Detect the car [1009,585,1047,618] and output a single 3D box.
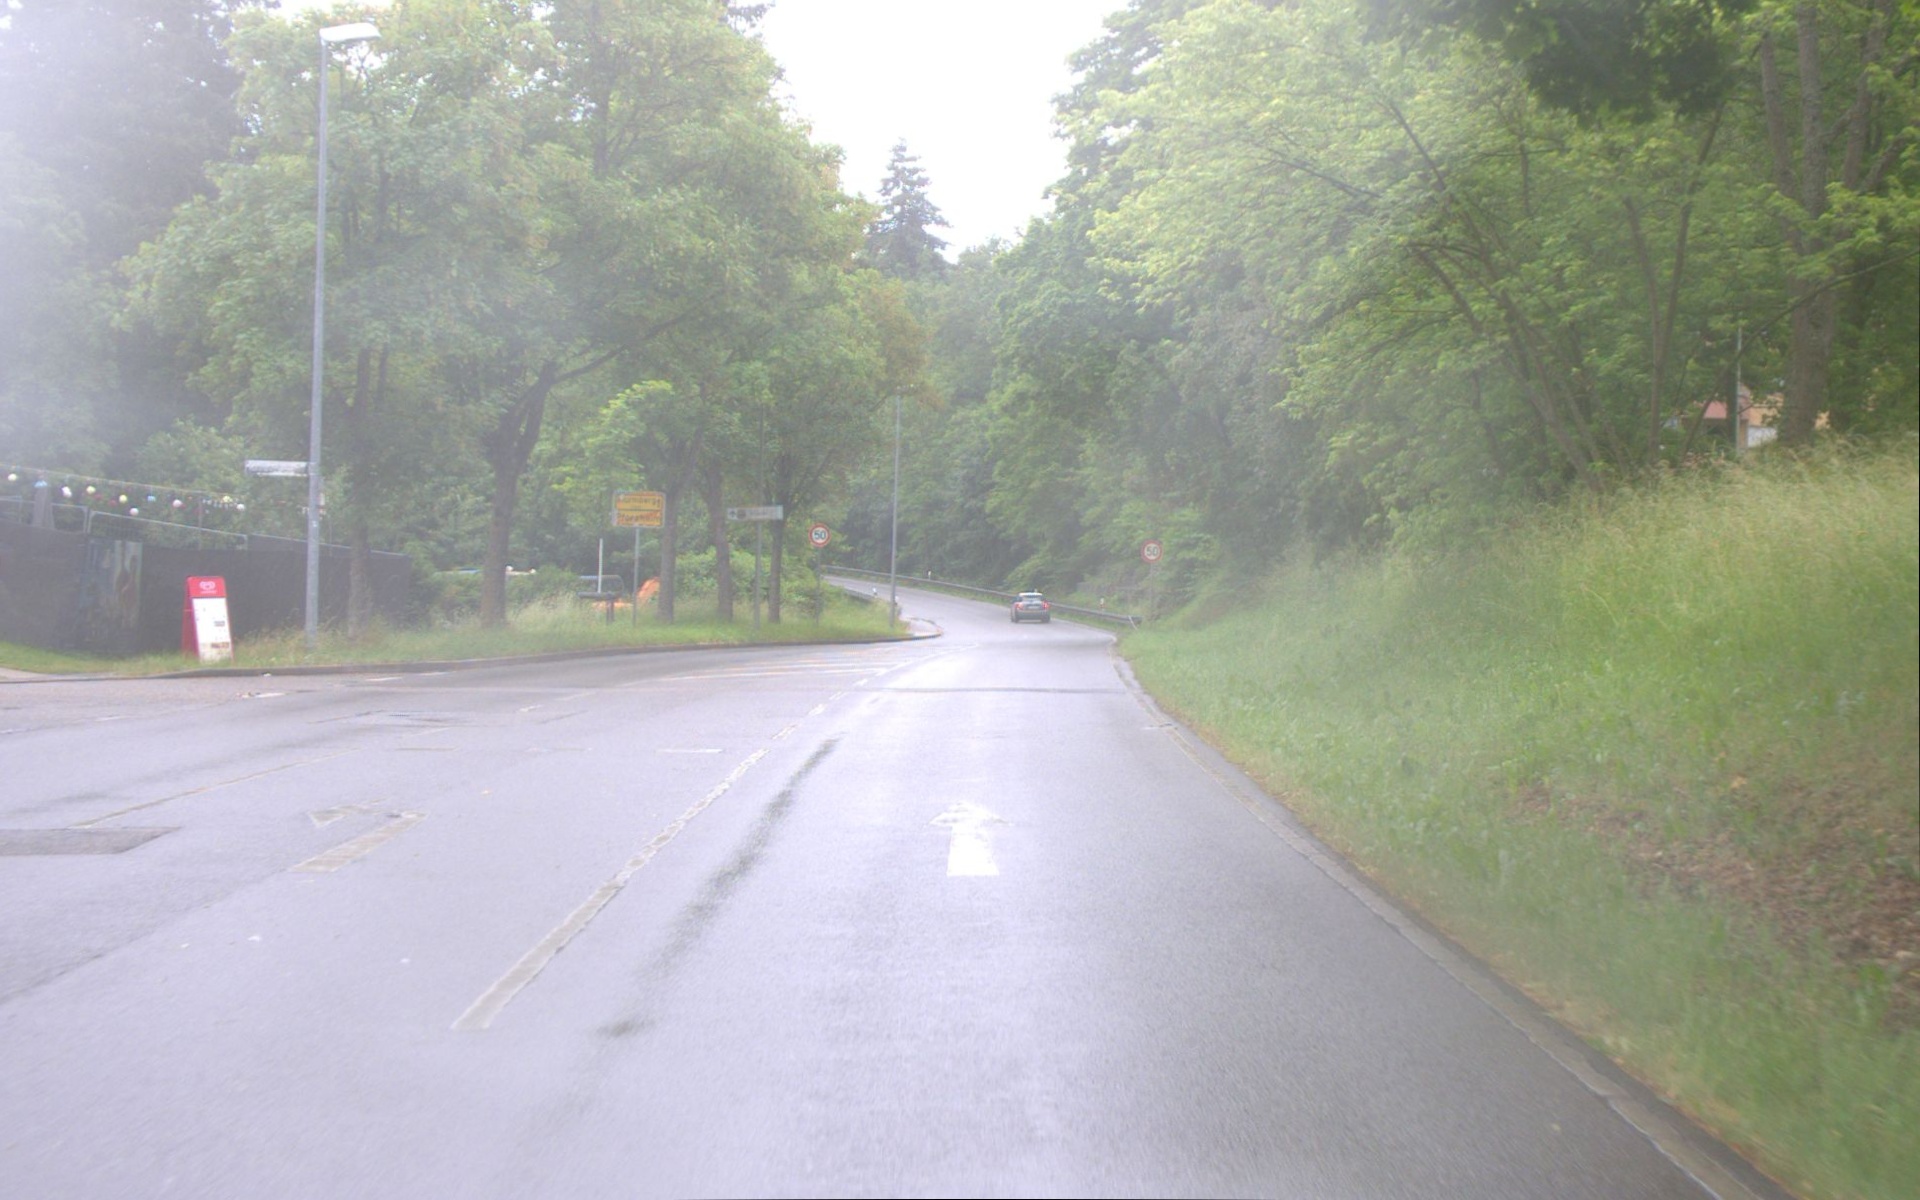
[{"bbox_3d":[3.321,0.075,168.217,1.736,1.505,4.000,-1,1,0],"label":"car"}]
